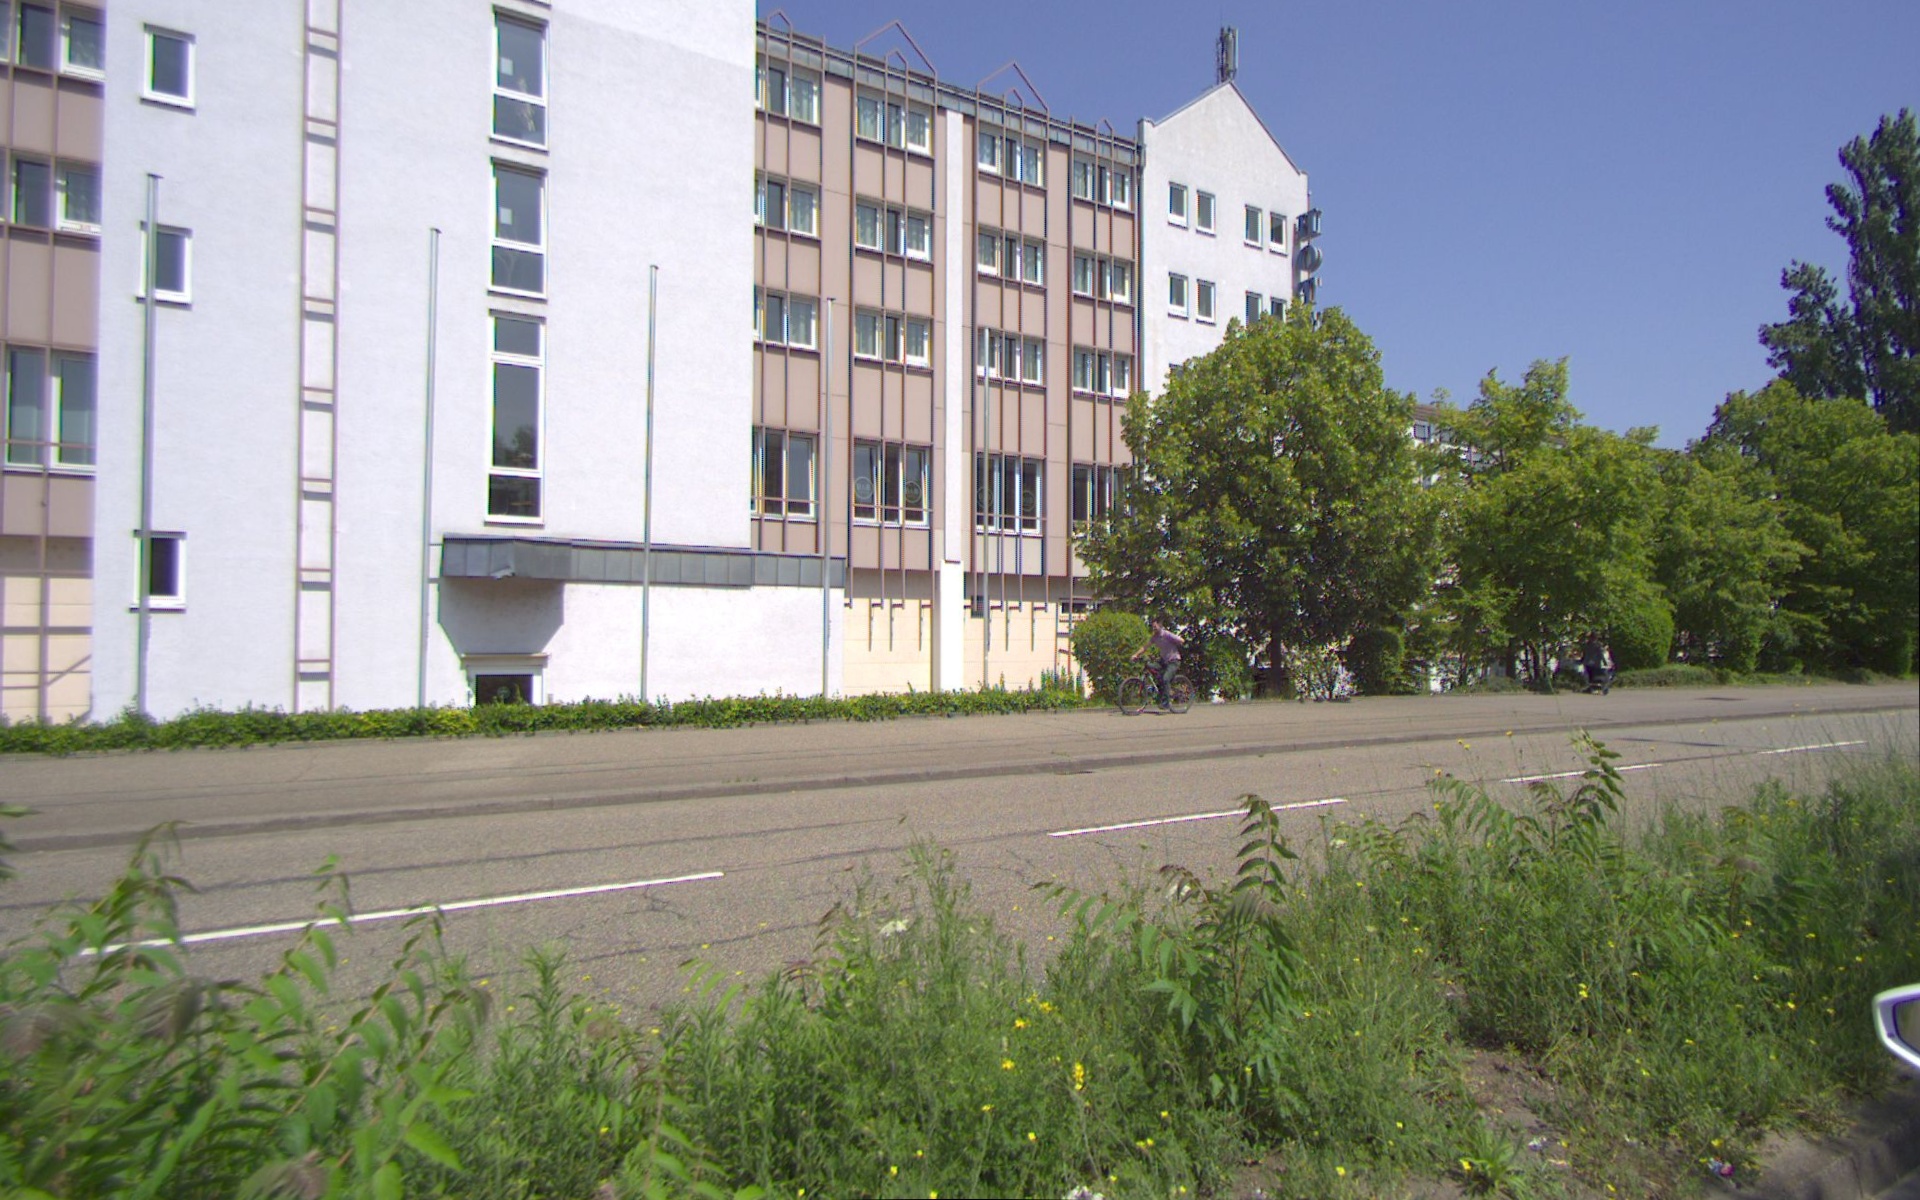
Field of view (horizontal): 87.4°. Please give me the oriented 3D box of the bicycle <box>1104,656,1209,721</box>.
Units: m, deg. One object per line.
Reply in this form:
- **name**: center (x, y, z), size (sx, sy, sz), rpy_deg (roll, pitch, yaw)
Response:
- **bicycle**: center (3.560, 1.568, 18.107), size (2.041, 1.087, 0.547), rpy_deg (2, -2, -33)

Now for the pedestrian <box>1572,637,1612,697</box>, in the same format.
- **pedestrian**: center (16.922, 1.792, 26.911), size (0.719, 1.565, 0.630), rpy_deg (2, -3, -30)

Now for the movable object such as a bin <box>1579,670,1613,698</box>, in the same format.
- **movable object such as a bin**: center (16.647, 2.187, 26.294), size (0.642, 0.714, 0.427), rpy_deg (1, -3, -21)

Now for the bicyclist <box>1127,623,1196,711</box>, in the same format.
- **bicyclist**: center (3.644, 1.203, 18.175), size (1.016, 1.536, 0.713), rpy_deg (2, -3, -33)
